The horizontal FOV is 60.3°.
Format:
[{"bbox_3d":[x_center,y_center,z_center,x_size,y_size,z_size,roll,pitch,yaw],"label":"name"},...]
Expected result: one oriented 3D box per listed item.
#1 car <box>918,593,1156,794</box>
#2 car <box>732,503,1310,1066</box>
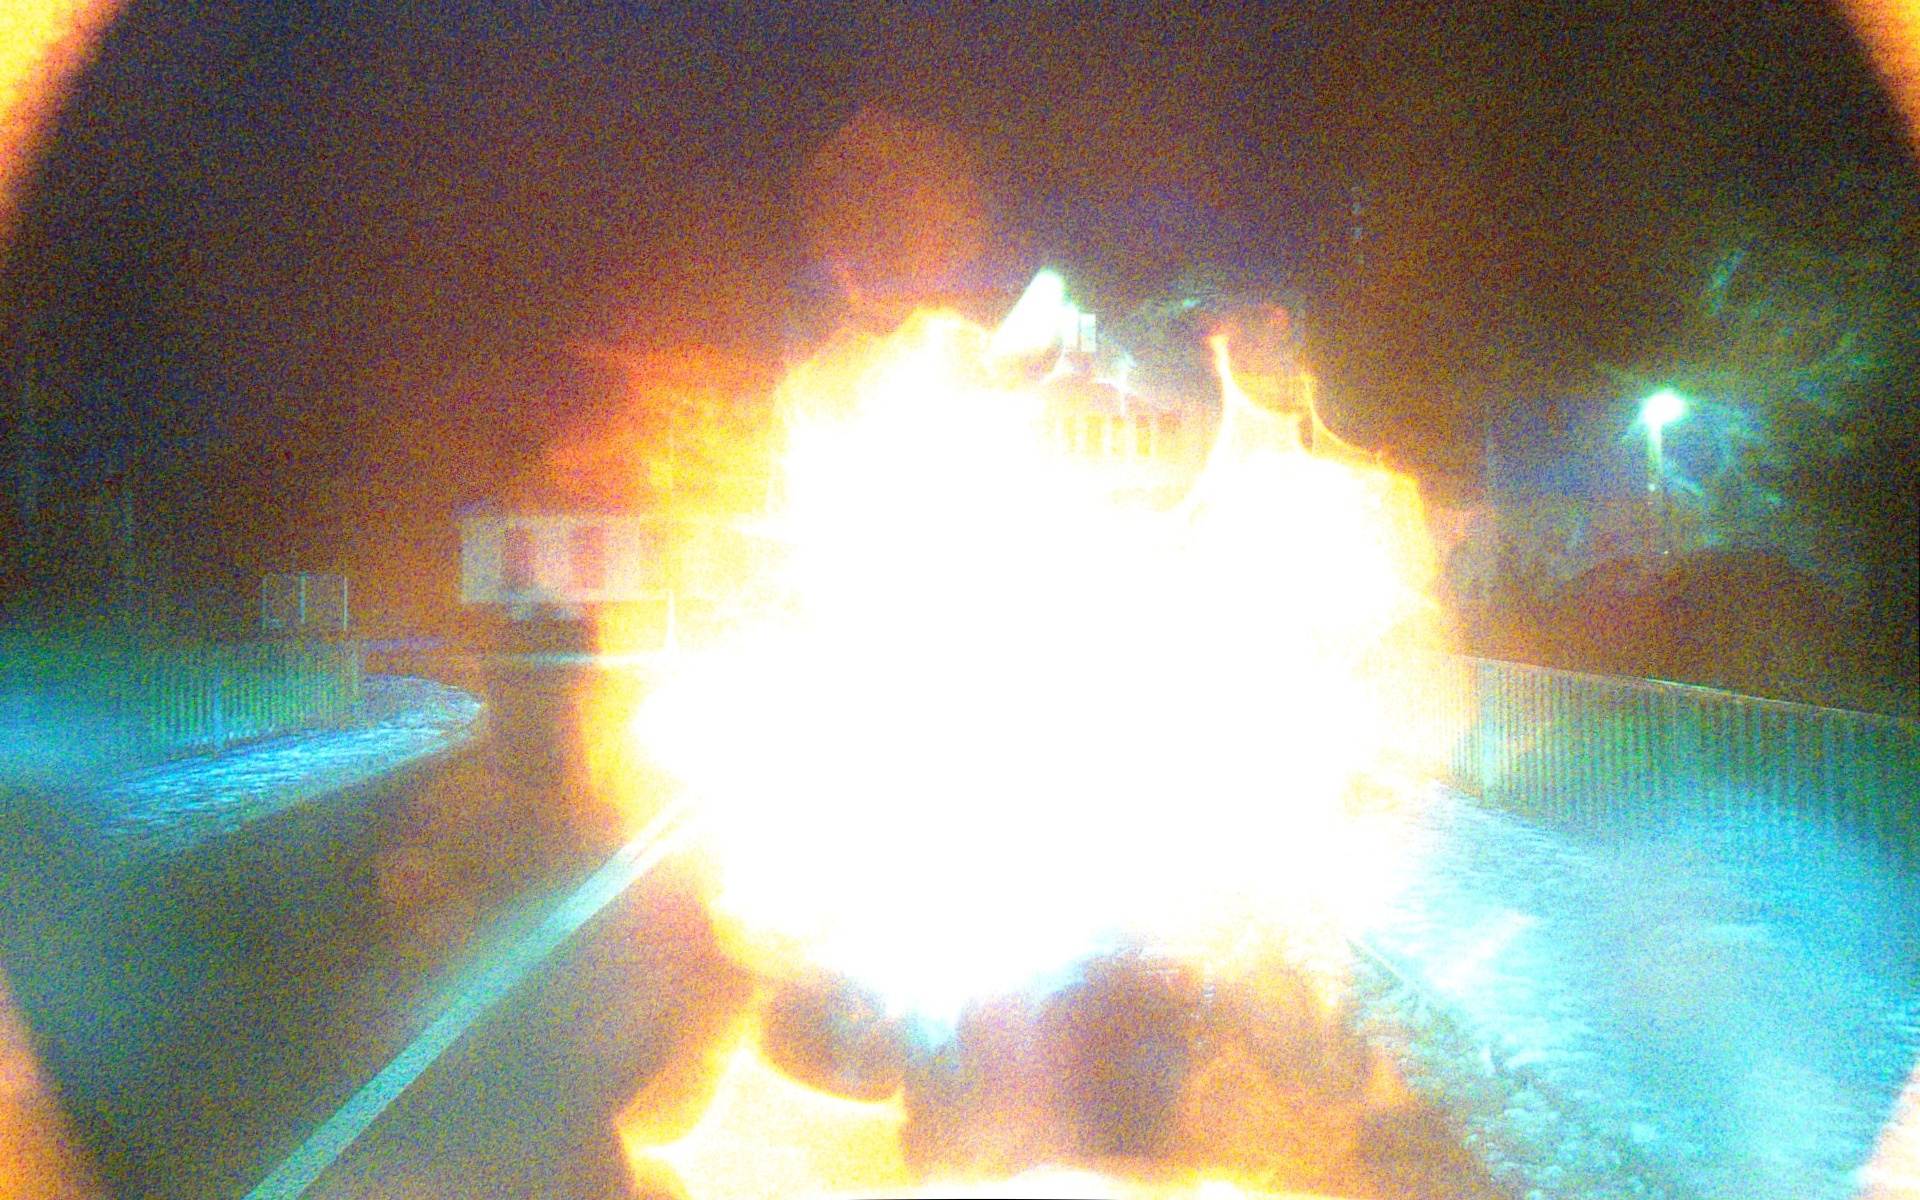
[{"bbox_3d":[0.645,0.668,13.946,1.707,1.440,4.001,0,0,3],"label":"car"},{"bbox_3d":[0.201,0.540,7.010,1.754,1.710,3.905,0,1,0],"label":"car"}]
